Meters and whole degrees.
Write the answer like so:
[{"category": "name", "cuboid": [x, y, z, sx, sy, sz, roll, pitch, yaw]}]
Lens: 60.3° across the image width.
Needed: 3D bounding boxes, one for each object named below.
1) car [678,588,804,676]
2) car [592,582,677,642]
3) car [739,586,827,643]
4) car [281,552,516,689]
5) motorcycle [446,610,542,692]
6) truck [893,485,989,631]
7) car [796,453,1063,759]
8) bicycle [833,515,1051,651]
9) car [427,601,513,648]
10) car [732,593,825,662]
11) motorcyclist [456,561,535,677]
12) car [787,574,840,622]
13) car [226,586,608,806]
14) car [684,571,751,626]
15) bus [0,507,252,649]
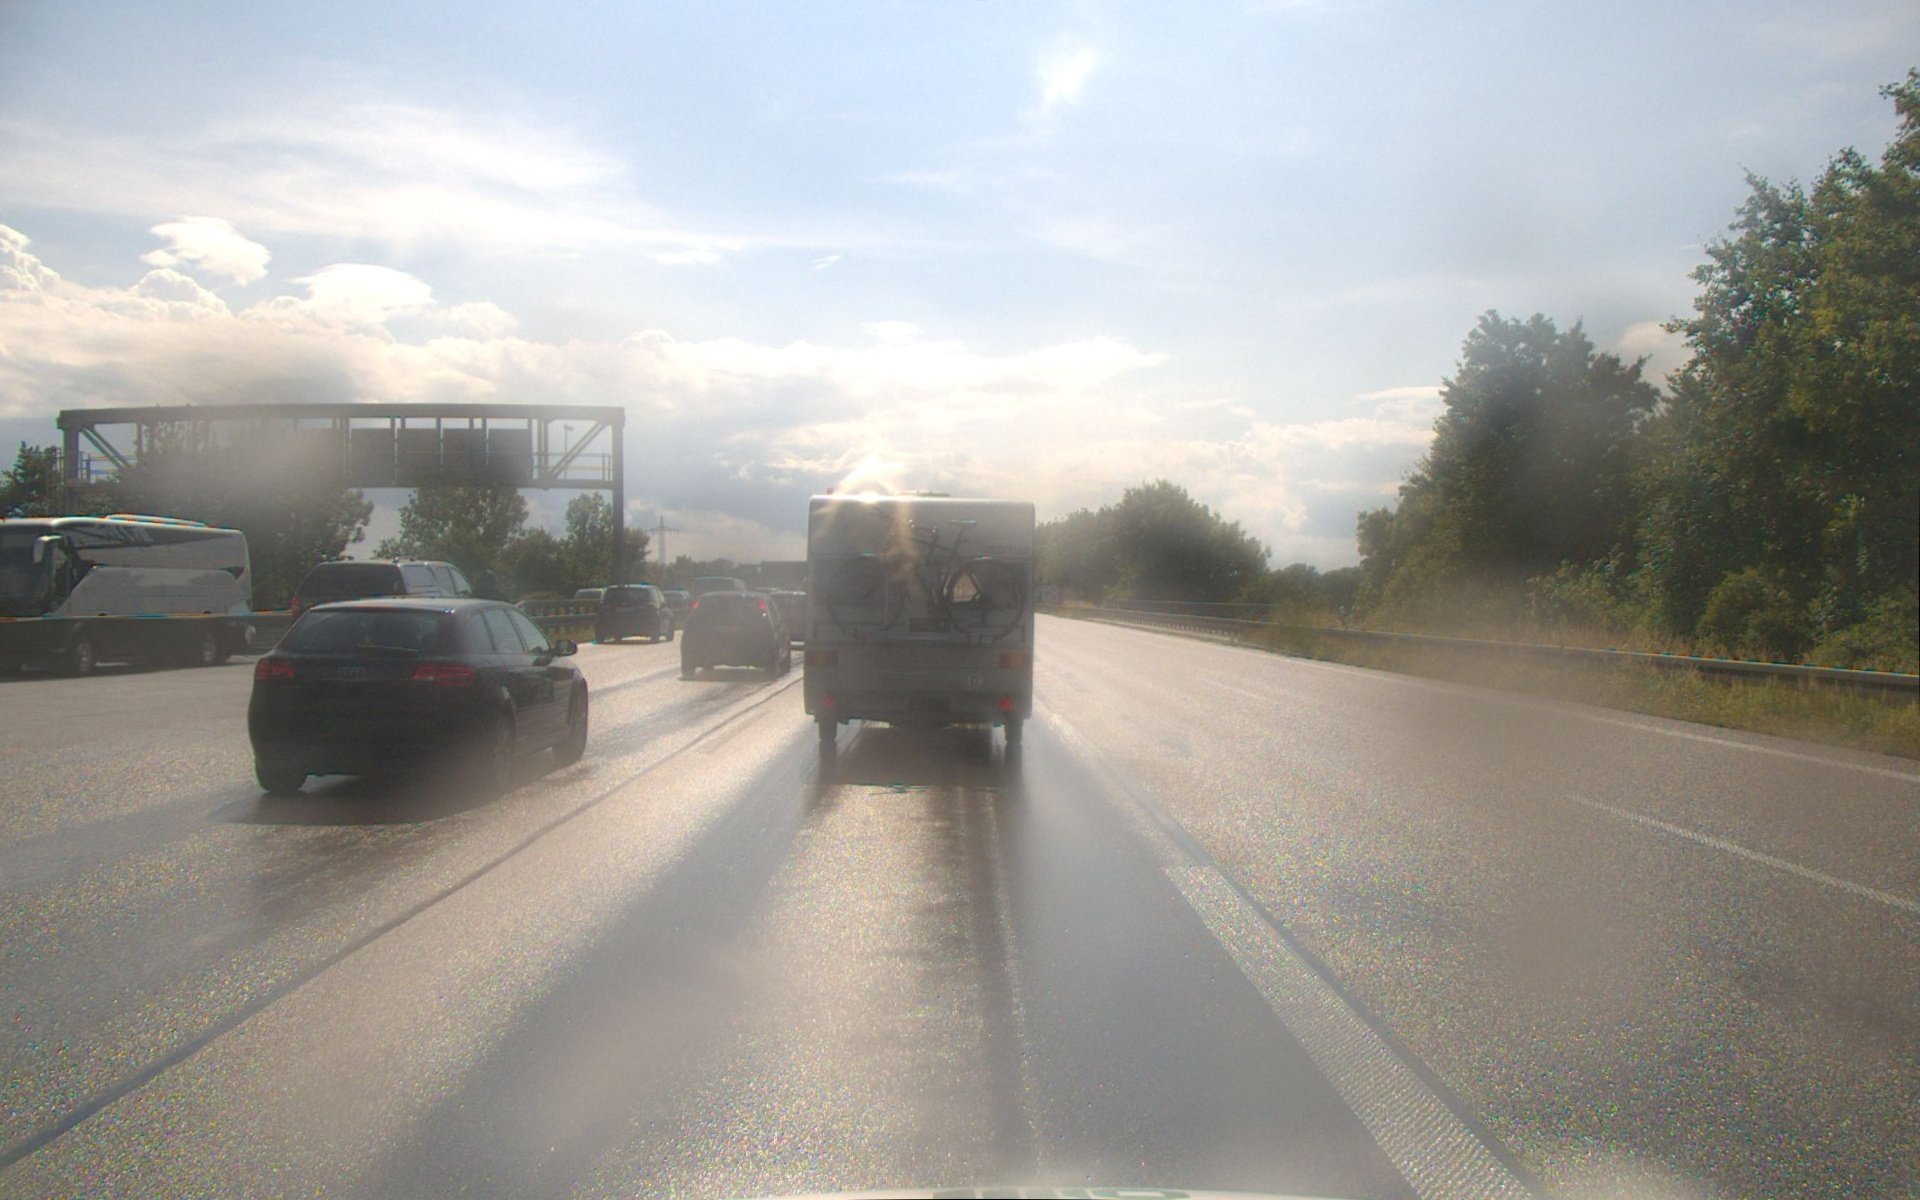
[{"category": "car", "cuboid": [-3.905, 0.529, 30.023, 1.722, 1.468, 4.000, 1, 0, 0]}, {"category": "car", "cuboid": [-9.237, 0.315, 47.262, 1.747, 1.606, 3.915, 1, 0, -2]}, {"category": "car", "cuboid": [-4.772, 0.364, 45.018, 1.947, 1.483, 3.826, 1, 0, 0]}, {"category": "car", "cuboid": [-8.513, 0.267, 25.638, 1.769, 1.876, 5.418, 1, 0, 0]}, {"category": "motorcycle", "cuboid": [-6.433, 0.684, 22.956, 0.676, 1.045, 2.388, 0, 0, -1]}, {"category": "truck", "cuboid": [-0.739, -1.372, 58.852, 3.082, 4.707, 10.732, 0, 0, -1]}, {"category": "car", "cuboid": [-0.267, 0.054, 16.885, 2.361, 2.721, 4.000, 1, 0, 0]}, {"category": "bicycle", "cuboid": [-0.155, -0.153, 14.677, 1.894, 1.161, 0.384, 1, 0, 1]}, {"category": "car", "cuboid": [-16.264, 0.785, 55.077, 1.740, 1.467, 3.999, 0, 0, -2]}, {"category": "car", "cuboid": [-4.180, 0.602, 38.625, 1.825, 1.534, 3.999, 0, 0, -2]}, {"category": "motorcyclist", "cuboid": [-6.429, 0.258, 22.928, 0.779, 1.564, 1.093, 0, 0, -1]}, {"category": "car", "cuboid": [-5.305, -0.086, 60.176, 1.654, 1.691, 3.640, 0, 0, -1]}, {"category": "car", "cuboid": [-4.048, 0.627, 13.051, 1.714, 1.458, 4.053, 1, 0, -1]}, {"category": "car", "cuboid": [-8.993, -0.064, 61.700, 1.810, 1.967, 5.015, 1, 0, -1]}, {"category": "bus", "cuboid": [-23.178, -0.565, 45.244, 2.880, 3.343, 12.205, 0, 0, -3]}]
